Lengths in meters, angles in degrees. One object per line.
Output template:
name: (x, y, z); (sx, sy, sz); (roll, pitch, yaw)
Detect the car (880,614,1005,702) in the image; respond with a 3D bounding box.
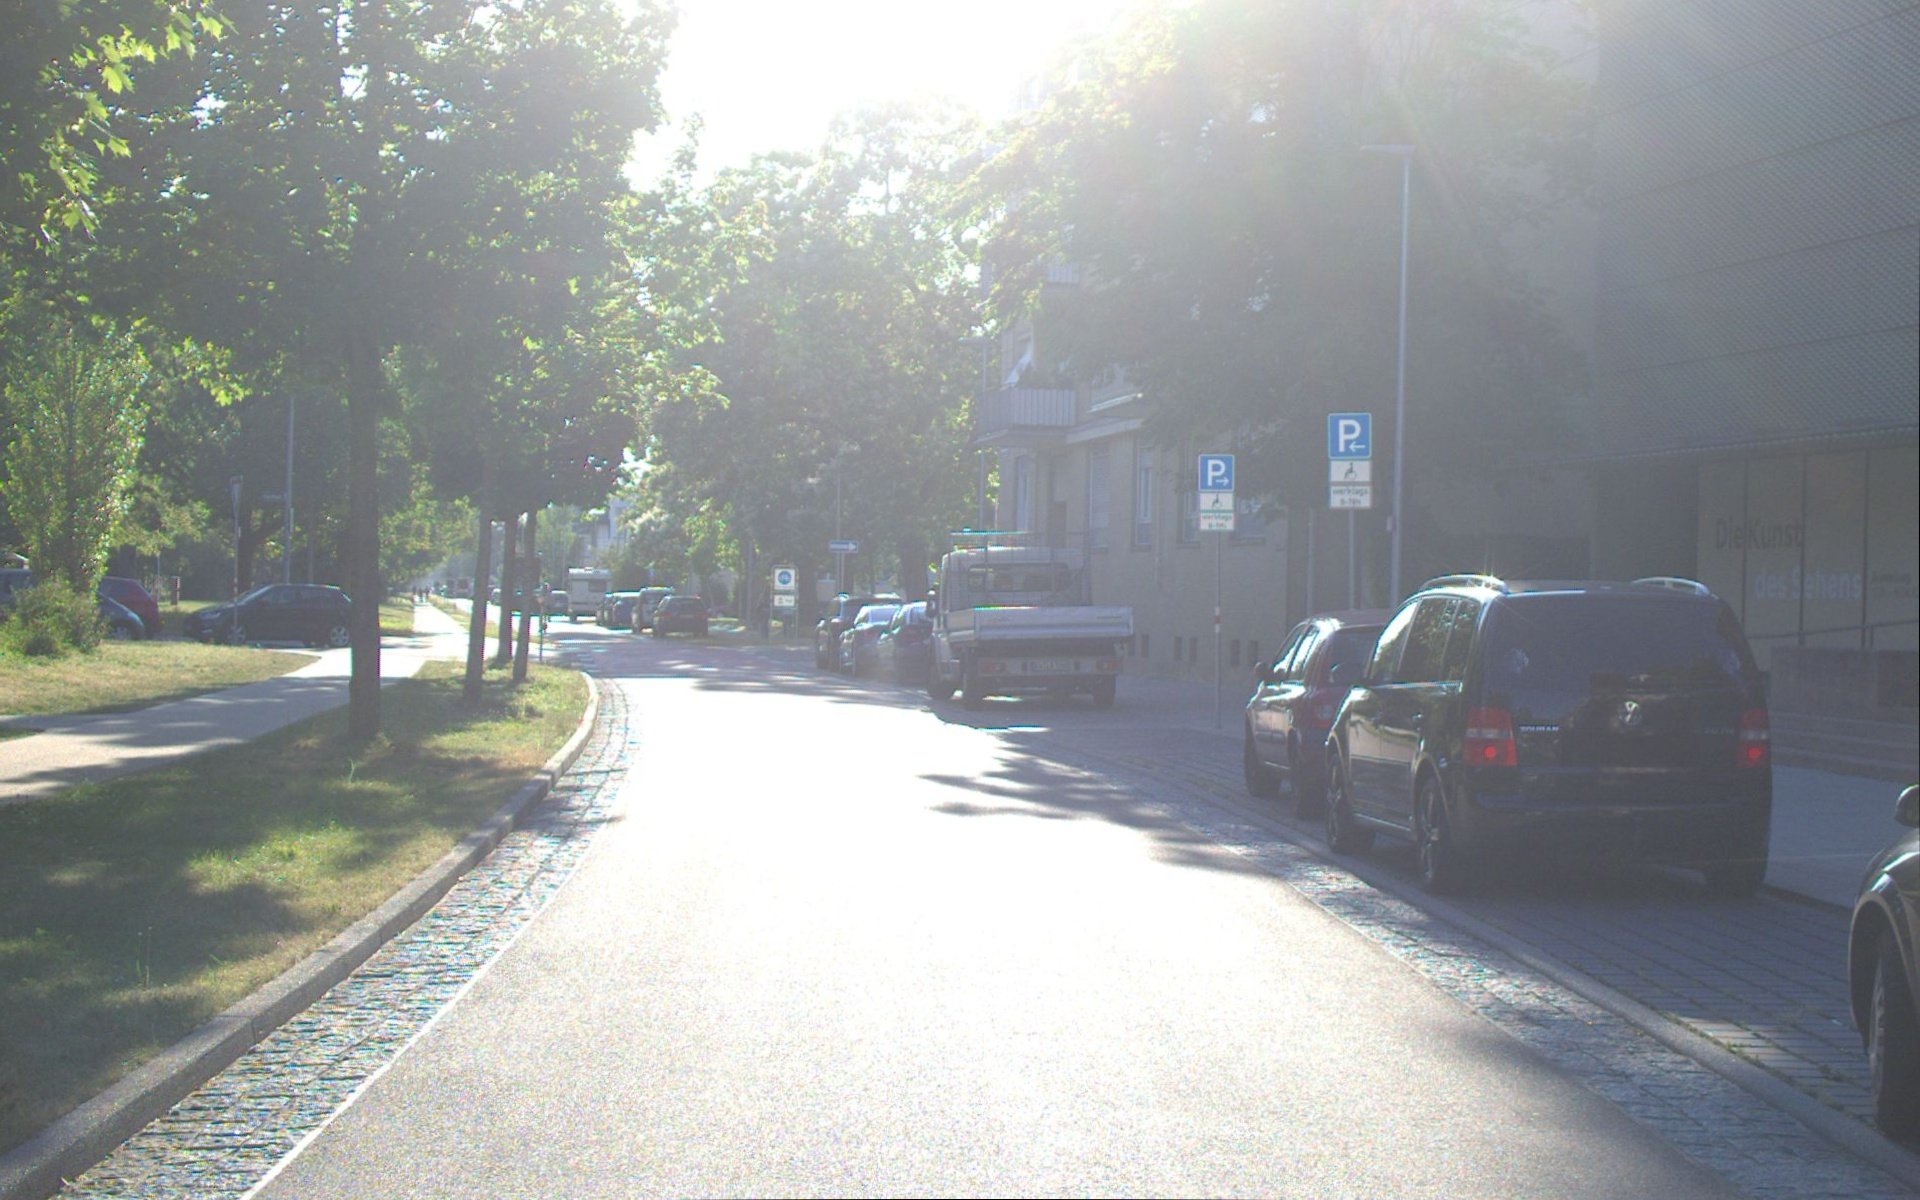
car: (-0.323, 0.976, 59.128); (1.690, 1.436, 3.551); (1, 0, -8)

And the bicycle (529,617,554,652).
bicycle: (-14.602, 1.196, 120.117); (0.688, 1.198, 2.343); (2, 0, -3)

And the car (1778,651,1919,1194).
car: (3.512, 0.880, 8.535); (1.747, 1.461, 4.478); (0, 0, -2)

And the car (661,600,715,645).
car: (-9.677, 0.796, 122.464); (1.793, 1.505, 4.000); (2, 0, -3)

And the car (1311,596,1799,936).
car: (3.146, 0.813, 19.003); (1.724, 1.663, 4.114); (0, 0, -4)

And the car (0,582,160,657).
car: (-18.389, 0.384, 69.324); (3.987, 1.415, 1.772); (2, 0, -32)

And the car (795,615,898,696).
car: (-2.344, 1.113, 70.203); (1.690, 1.560, 4.105); (1, 0, -8)

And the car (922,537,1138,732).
car: (0.880, 0.443, 47.887); (2.211, 2.521, 6.148); (-1, 0, -6)

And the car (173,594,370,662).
car: (-15.629, 0.645, 78.119); (3.987, 1.415, 1.772); (2, 0, -33)

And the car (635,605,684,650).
car: (-11.940, 1.082, 136.499); (1.793, 1.719, 4.001); (2, 0, -6)

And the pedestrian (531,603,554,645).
pedestrian: (-14.594, 0.839, 120.152); (0.688, 1.429, 1.024); (2, 0, -3)

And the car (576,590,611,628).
car: (-20.065, 0.468, 188.320); (1.793, 1.992, 4.001); (2, 0, -6)

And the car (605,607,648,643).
car: (-14.770, 1.089, 152.085); (1.793, 1.505, 4.001); (2, 0, -6)

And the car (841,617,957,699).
car: (-1.178, 1.063, 64.285); (1.690, 1.436, 4.105); (1, 0, -8)

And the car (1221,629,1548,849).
car: (2.977, 0.944, 24.848); (1.724, 1.417, 3.906); (0, 0, -2)

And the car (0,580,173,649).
car: (-19.586, 0.314, 75.964); (3.912, 1.415, 1.772); (2, 0, -30)
